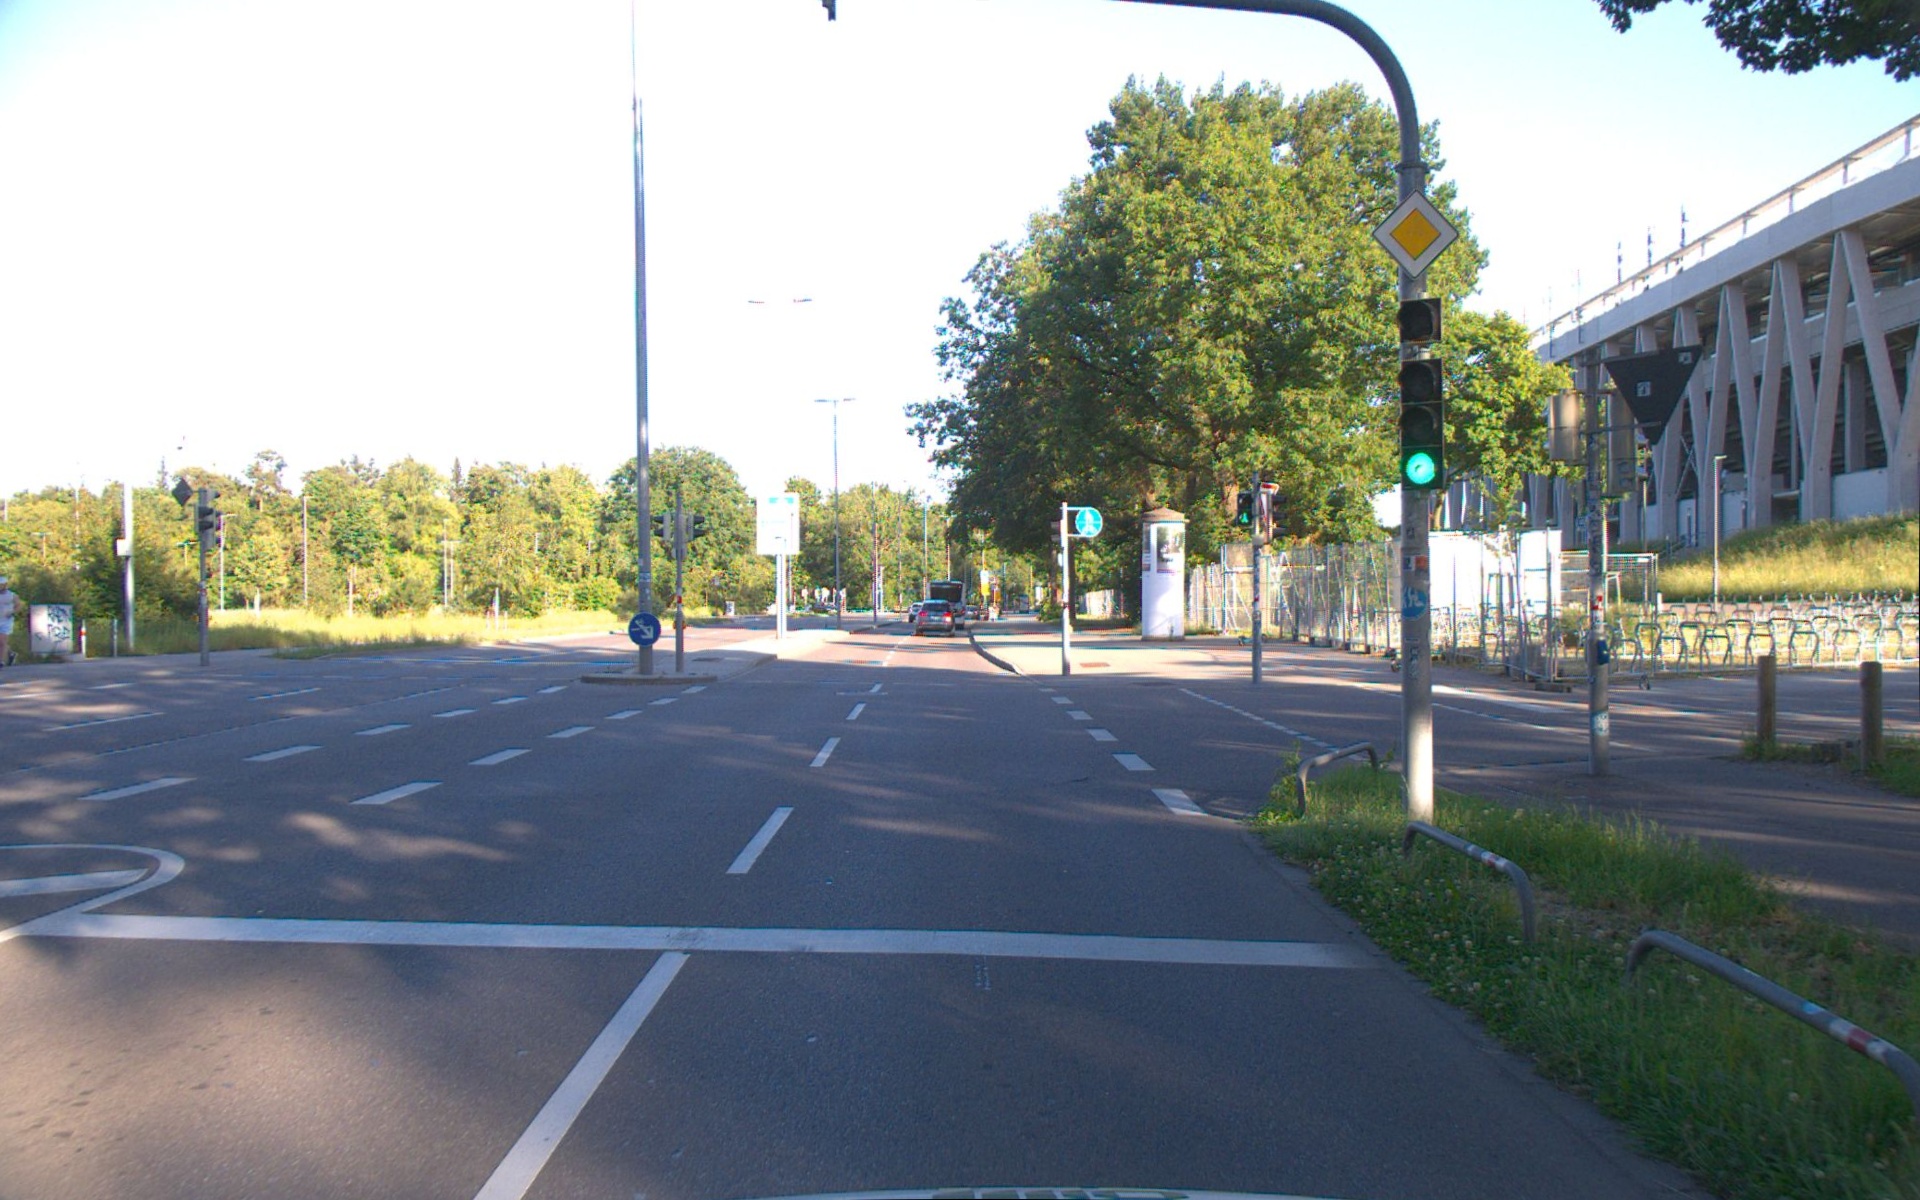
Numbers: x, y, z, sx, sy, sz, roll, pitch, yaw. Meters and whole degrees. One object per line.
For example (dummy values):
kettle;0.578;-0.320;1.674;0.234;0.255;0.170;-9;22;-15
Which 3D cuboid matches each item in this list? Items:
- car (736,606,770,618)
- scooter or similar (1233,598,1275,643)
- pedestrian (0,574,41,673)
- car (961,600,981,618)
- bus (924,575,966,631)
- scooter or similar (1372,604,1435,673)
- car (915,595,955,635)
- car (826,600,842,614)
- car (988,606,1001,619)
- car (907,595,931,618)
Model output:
car;-24.361;1.418;194.859;3.632;1.378;1.718;-1;0;-33
scooter or similar;8.504;0.592;47.779;0.558;1.278;1.593;-1;-1;37
pedestrian;-18.919;0.476;32.981;0.600;1.943;1.106;0;-1;-2
car;1.112;0.882;164.895;1.824;1.713;3.774;-1;0;2
bus;-1.003;0.163;107.289;2.552;3.427;7.973;1;0;-2
scooter or similar;8.770;0.743;32.683;1.351;1.310;0.594;0;1;-44
car;-1.184;0.691;78.519;1.842;1.796;3.999;0;0;-1
car;-15.756;0.867;207.051;1.825;1.713;3.771;-1;0;-2
car;4.488;1.612;215.286;1.560;1.634;3.583;2;-1;0
car;-3.271;0.471;132.177;1.842;1.796;3.999;0;0;-1
